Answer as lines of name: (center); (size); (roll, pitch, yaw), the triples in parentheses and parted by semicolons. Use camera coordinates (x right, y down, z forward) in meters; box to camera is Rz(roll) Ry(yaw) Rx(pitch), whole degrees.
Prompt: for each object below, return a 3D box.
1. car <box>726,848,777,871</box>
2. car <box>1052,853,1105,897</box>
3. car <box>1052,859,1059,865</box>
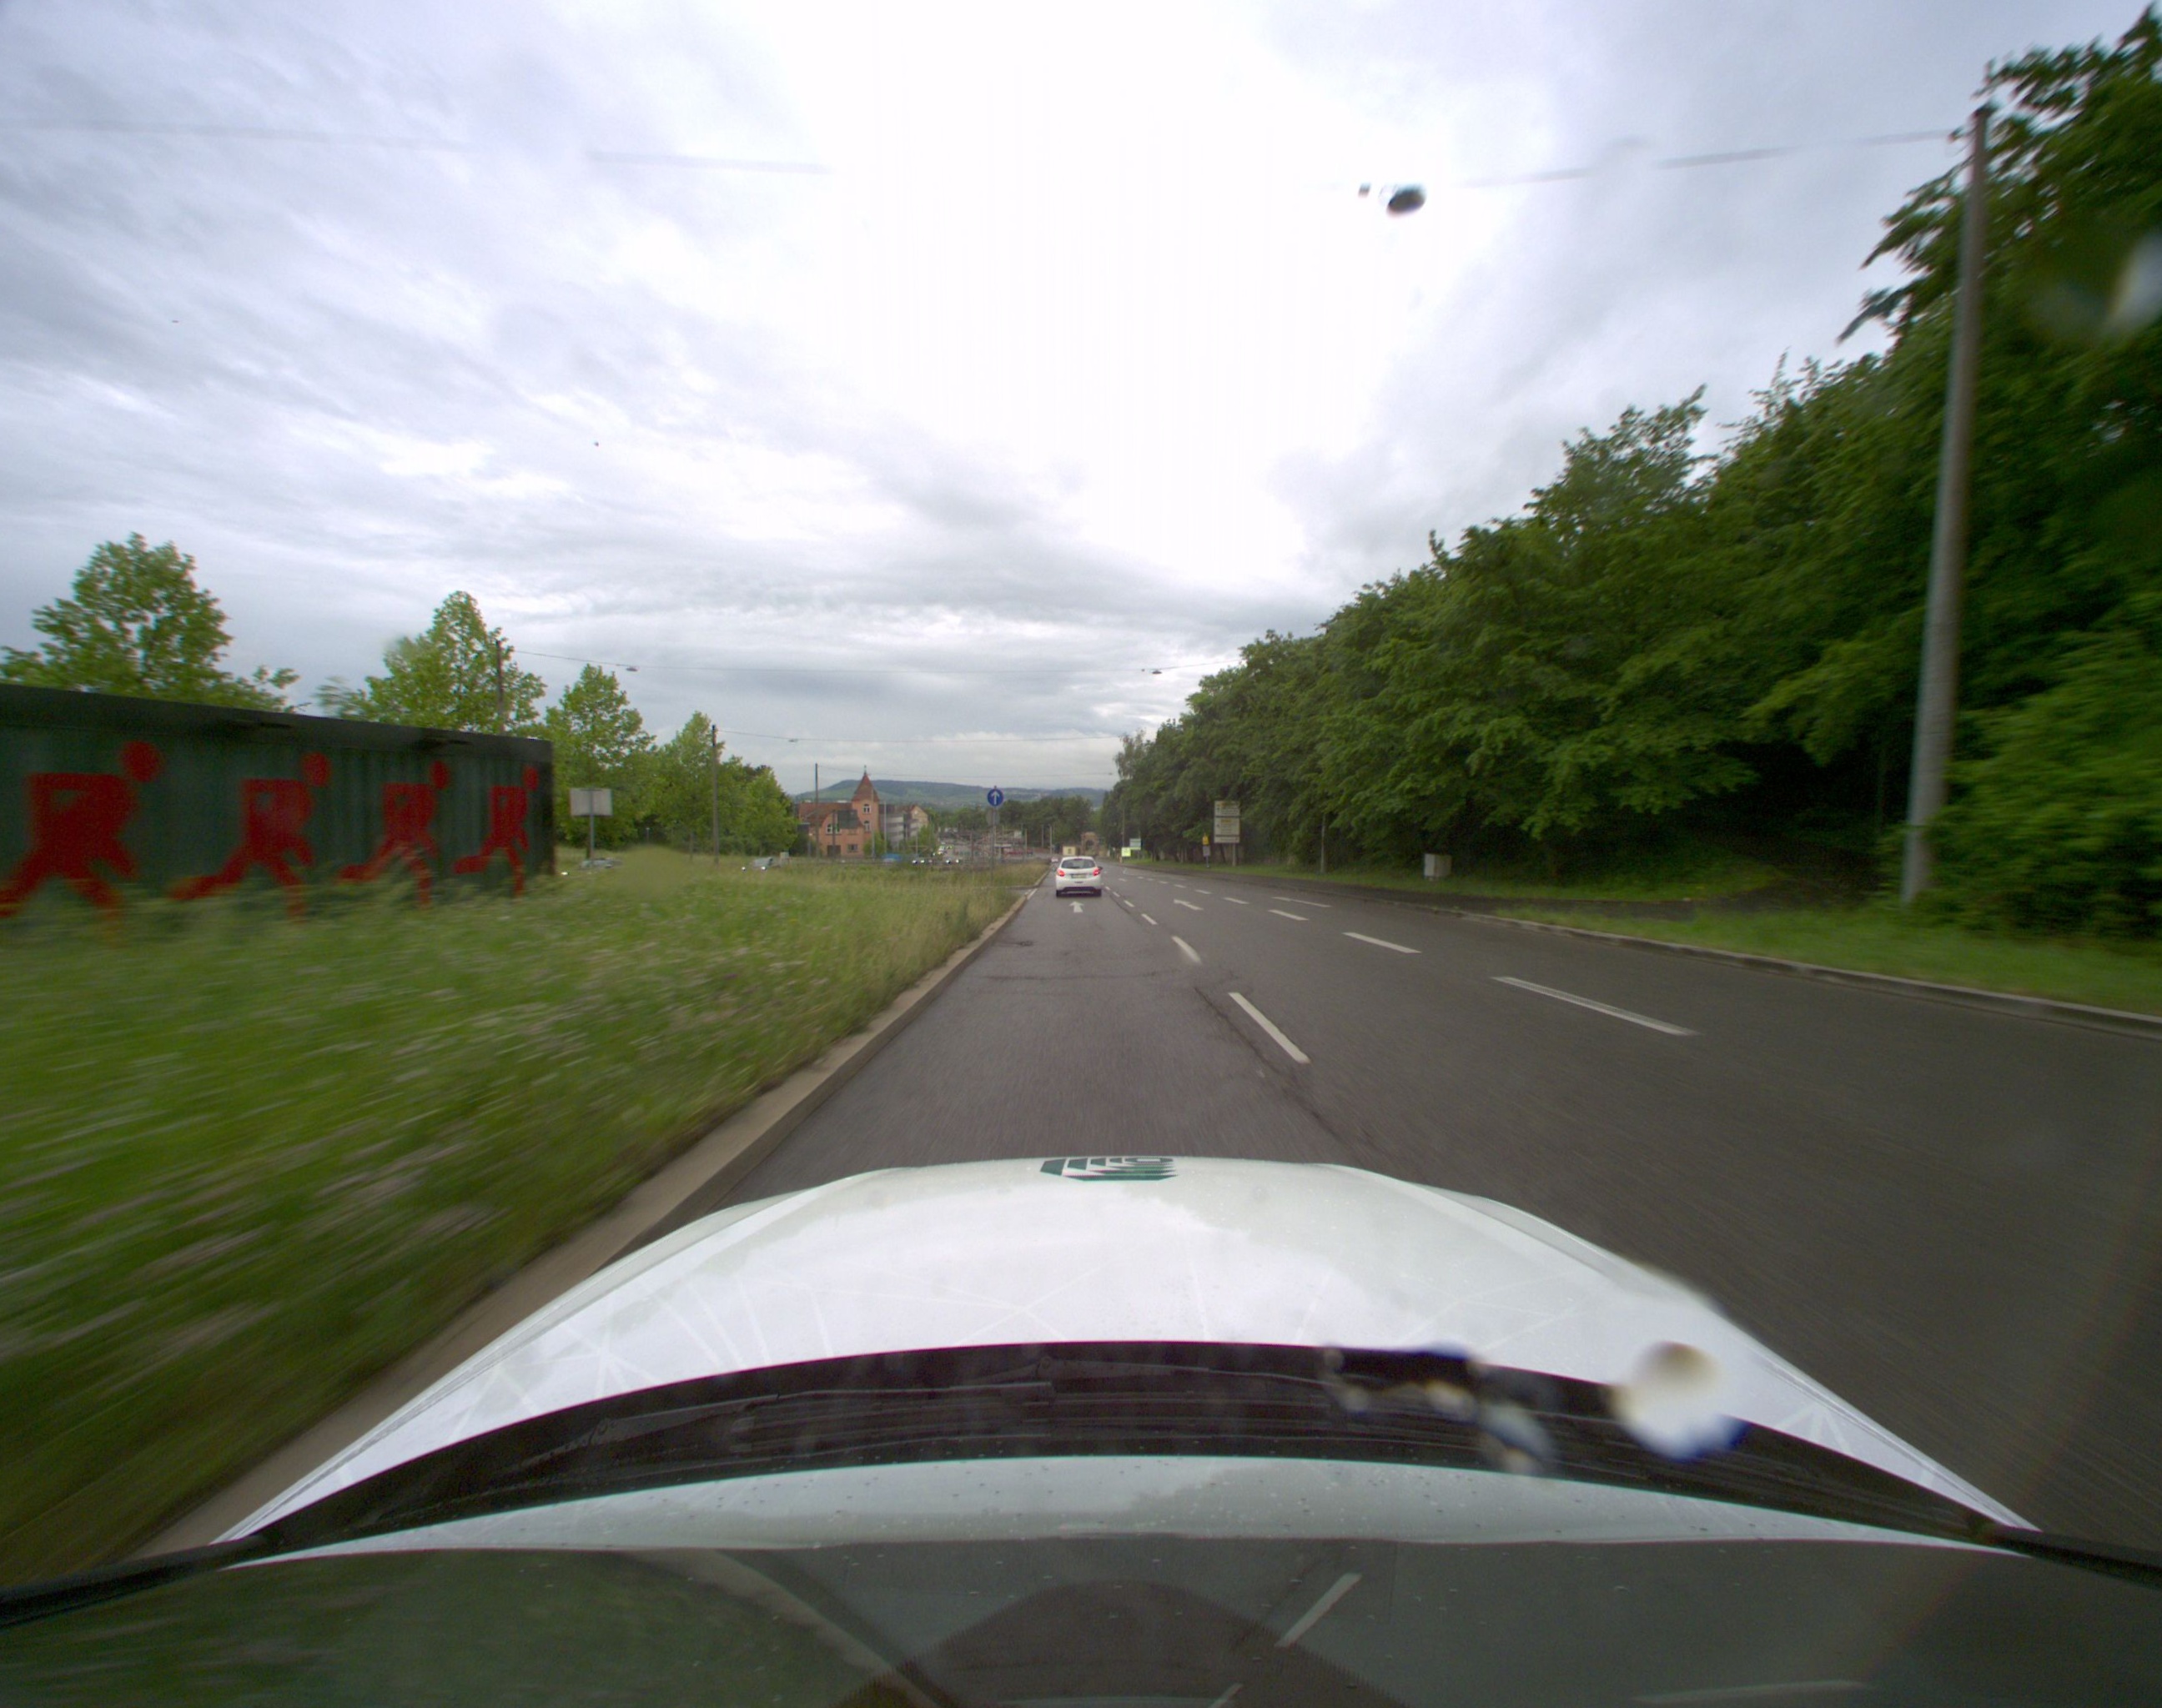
car: (-22.483, 0.370, 55.742); (1.651, 1.528, 4.434); (1, 0, -1)
car: (-0.100, 0.734, 30.966); (1.863, 1.511, 3.898); (-2, 0, -1)
car: (-6.614, 2.069, 210.806); (1.817, 1.606, 3.999); (-2, 0, 0)
